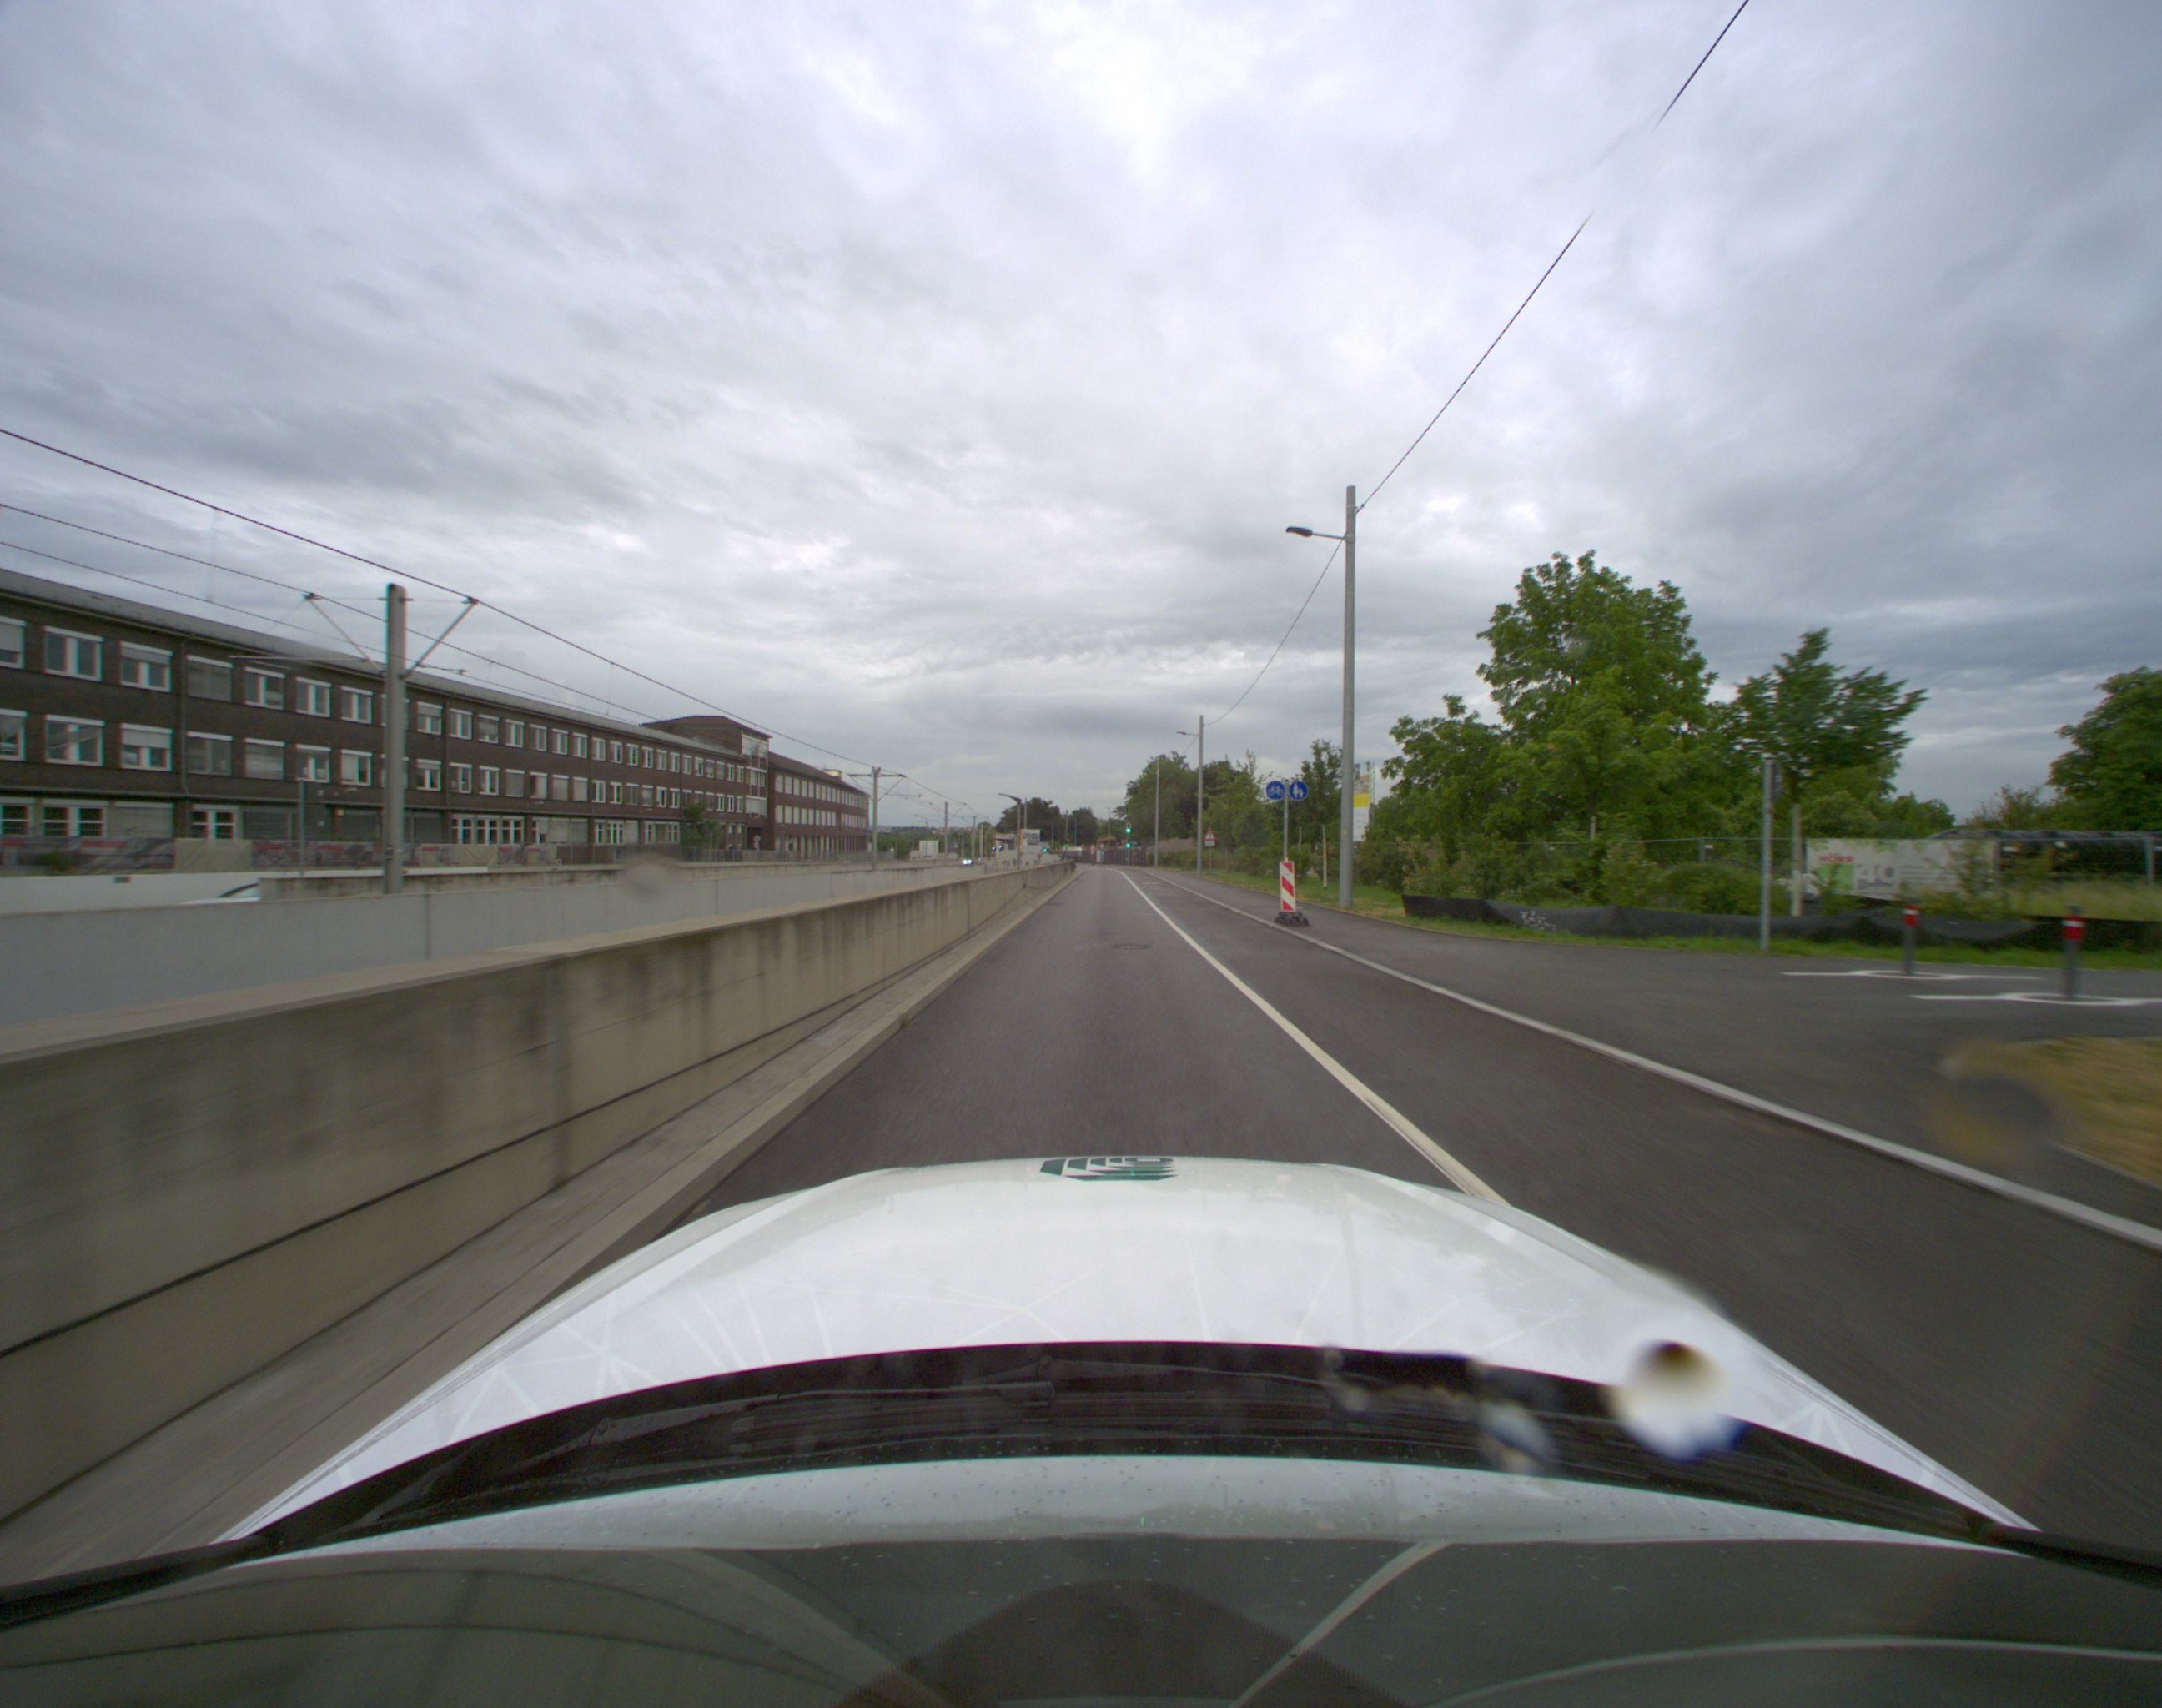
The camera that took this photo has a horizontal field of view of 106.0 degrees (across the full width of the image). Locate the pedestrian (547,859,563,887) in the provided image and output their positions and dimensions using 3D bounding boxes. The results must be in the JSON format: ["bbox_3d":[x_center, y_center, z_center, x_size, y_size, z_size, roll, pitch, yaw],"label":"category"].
[{"bbox_3d":[-38.056,1.397,58.909,0.669,2.014,0.652,-1,-1,-1],"label":"pedestrian"}]

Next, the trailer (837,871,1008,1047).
[{"bbox_3d":[-4.761,2.916,28.052,2.752,4.252,13.190,-1,0,2],"label":"trailer"}]

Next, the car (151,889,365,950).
[{"bbox_3d":[-26.149,2.007,26.186,1.904,1.515,4.947,0,0,-1],"label":"car"}]
